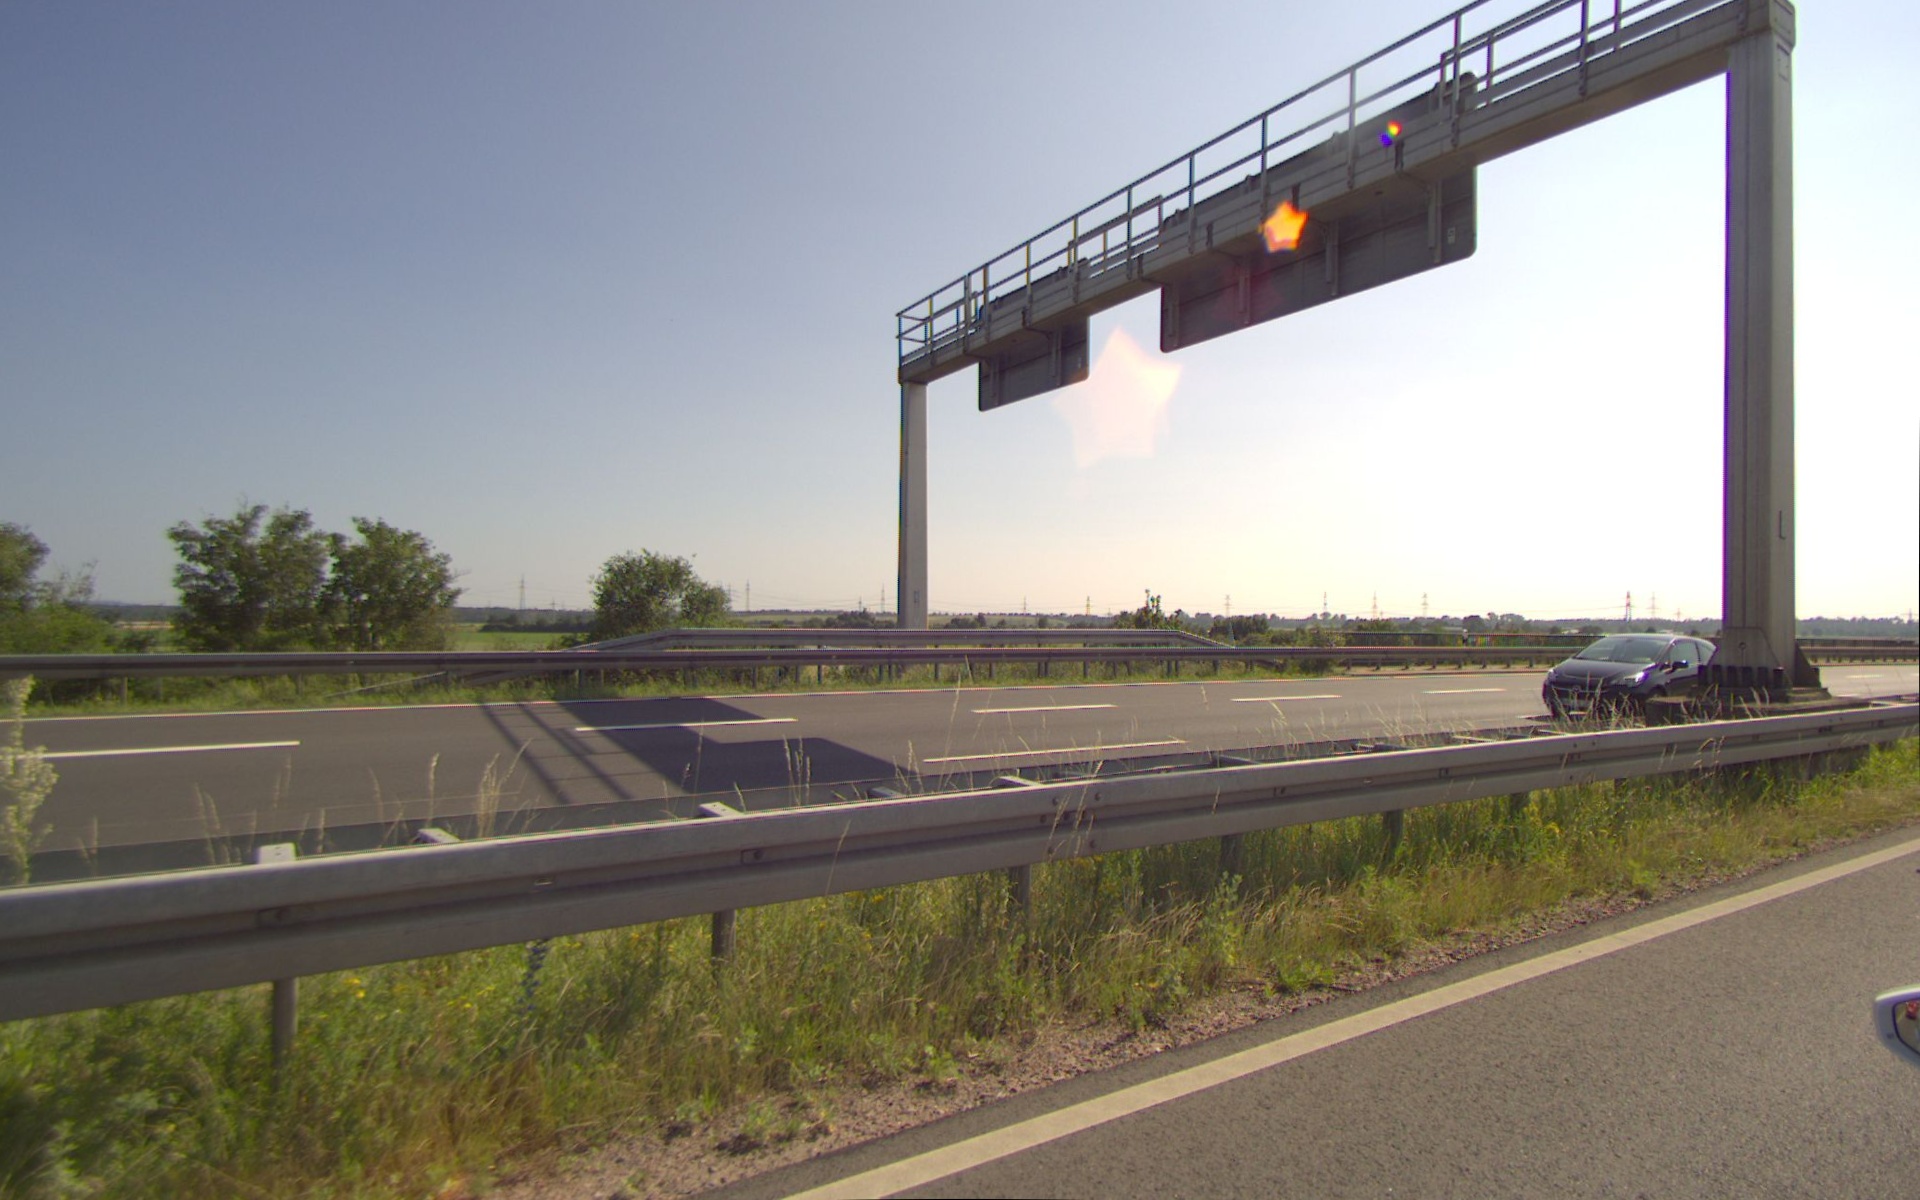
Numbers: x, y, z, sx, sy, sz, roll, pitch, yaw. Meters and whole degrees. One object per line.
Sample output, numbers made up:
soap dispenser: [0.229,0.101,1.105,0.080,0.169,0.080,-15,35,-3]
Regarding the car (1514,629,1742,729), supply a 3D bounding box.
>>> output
car: [11.763,1.312,17.648,3.954,1.493,1.786,1,0,-31]
